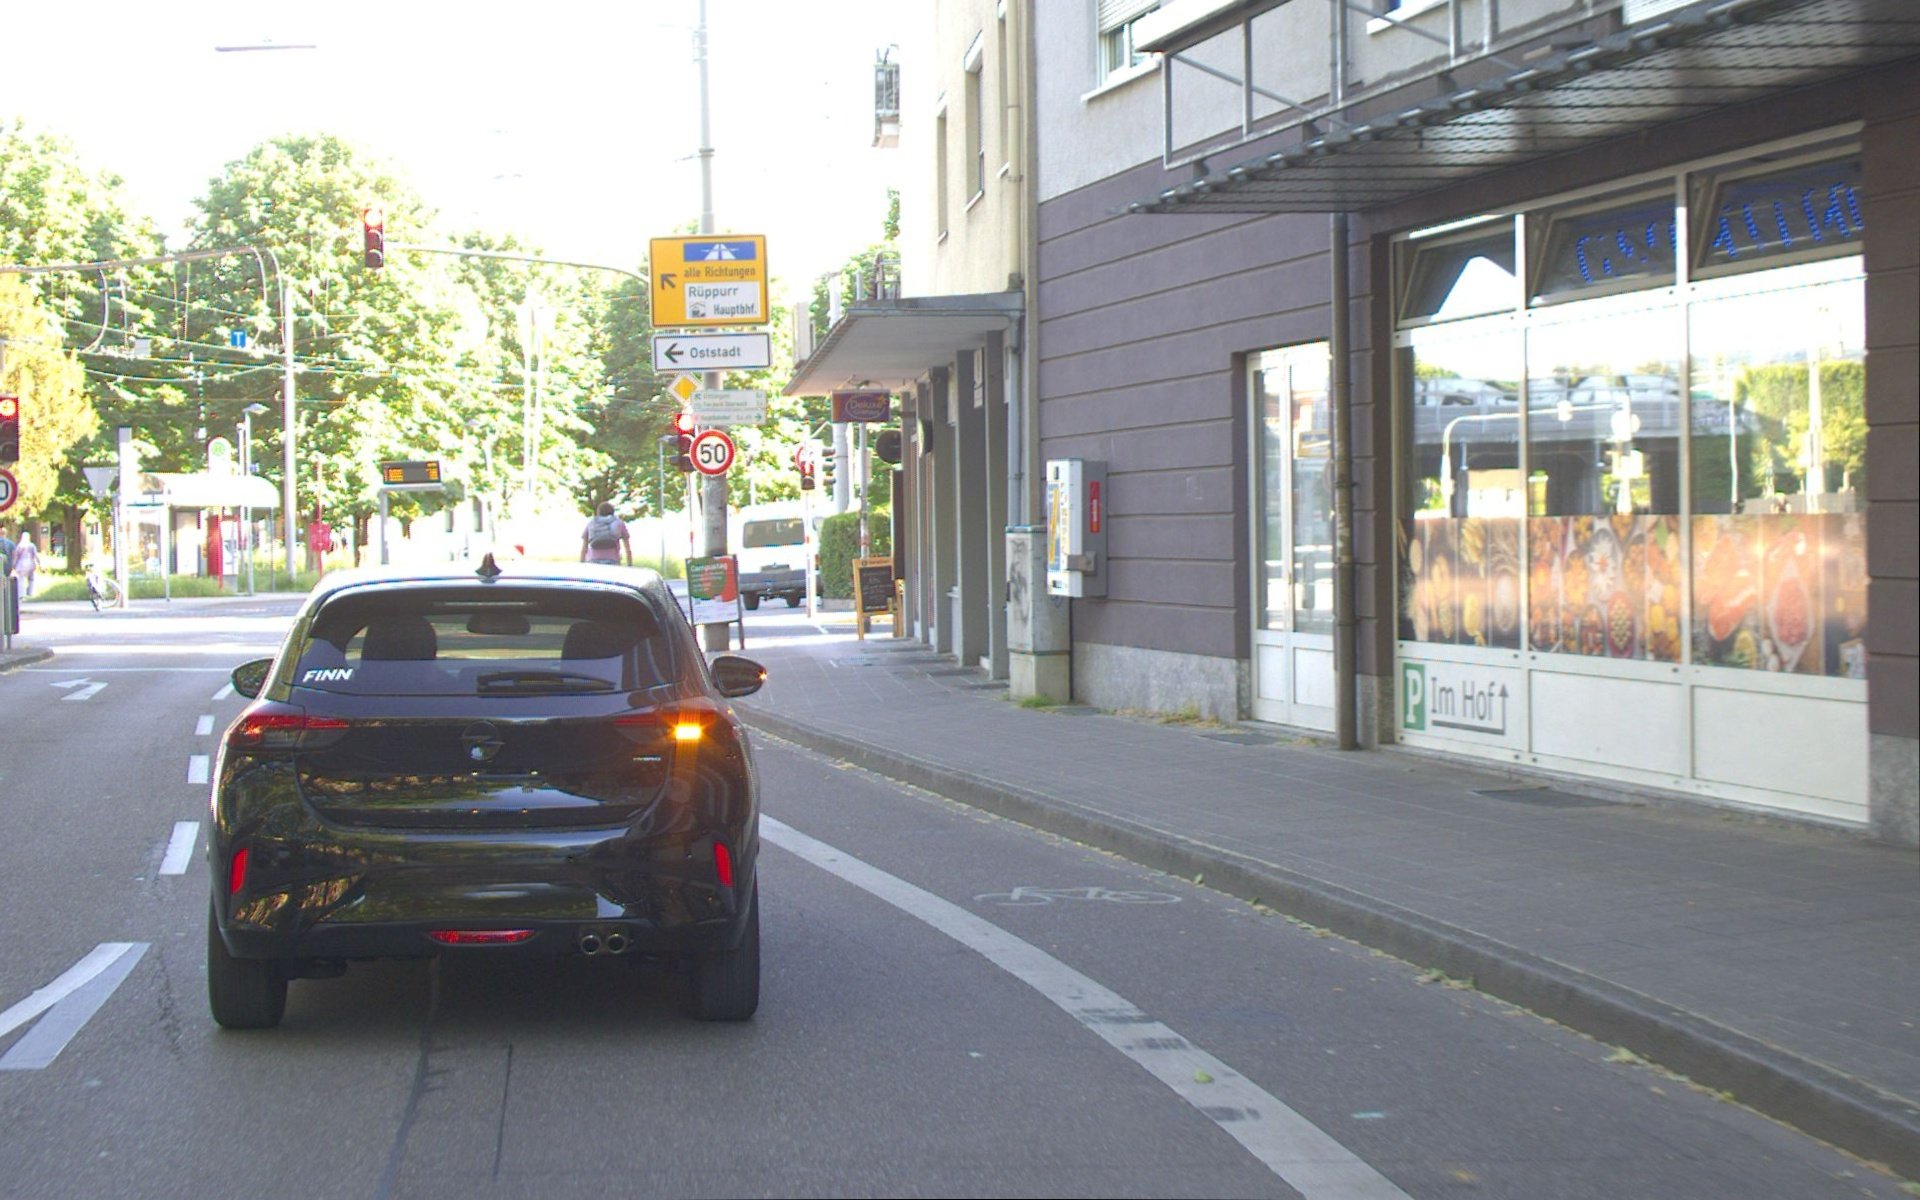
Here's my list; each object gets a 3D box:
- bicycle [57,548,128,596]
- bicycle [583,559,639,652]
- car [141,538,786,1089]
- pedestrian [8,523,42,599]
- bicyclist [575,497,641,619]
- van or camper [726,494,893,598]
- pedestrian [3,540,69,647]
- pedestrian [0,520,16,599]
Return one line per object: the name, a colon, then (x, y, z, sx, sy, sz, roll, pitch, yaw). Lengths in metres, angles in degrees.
bicycle: (-18.079, -0.598, 71.716, 0.788, 0.988, 2.243, 0, 1, 4)
bicycle: (-4.157, 0.052, 41.000, 0.508, 1.063, 1.564, -1, 1, -1)
car: (-1.576, 0.554, 11.592, 1.781, 1.491, 4.001, 0, 2, -6)
pedestrian: (-22.910, -0.953, 84.244, 0.616, 1.847, 0.583, 0, 1, 12)
bicyclist: (-4.196, -0.507, 41.027, 0.706, 1.430, 0.702, -1, 1, -1)
van or camper: (-3.180, -1.156, 73.563, 2.170, 2.138, 4.502, 0, 1, 17)
pedestrian: (-11.976, -0.087, 44.573, 0.653, 1.359, 0.645, -1, 1, 0)
pedestrian: (-23.602, -1.005, 84.296, 0.658, 1.926, 0.609, 0, 1, 13)
